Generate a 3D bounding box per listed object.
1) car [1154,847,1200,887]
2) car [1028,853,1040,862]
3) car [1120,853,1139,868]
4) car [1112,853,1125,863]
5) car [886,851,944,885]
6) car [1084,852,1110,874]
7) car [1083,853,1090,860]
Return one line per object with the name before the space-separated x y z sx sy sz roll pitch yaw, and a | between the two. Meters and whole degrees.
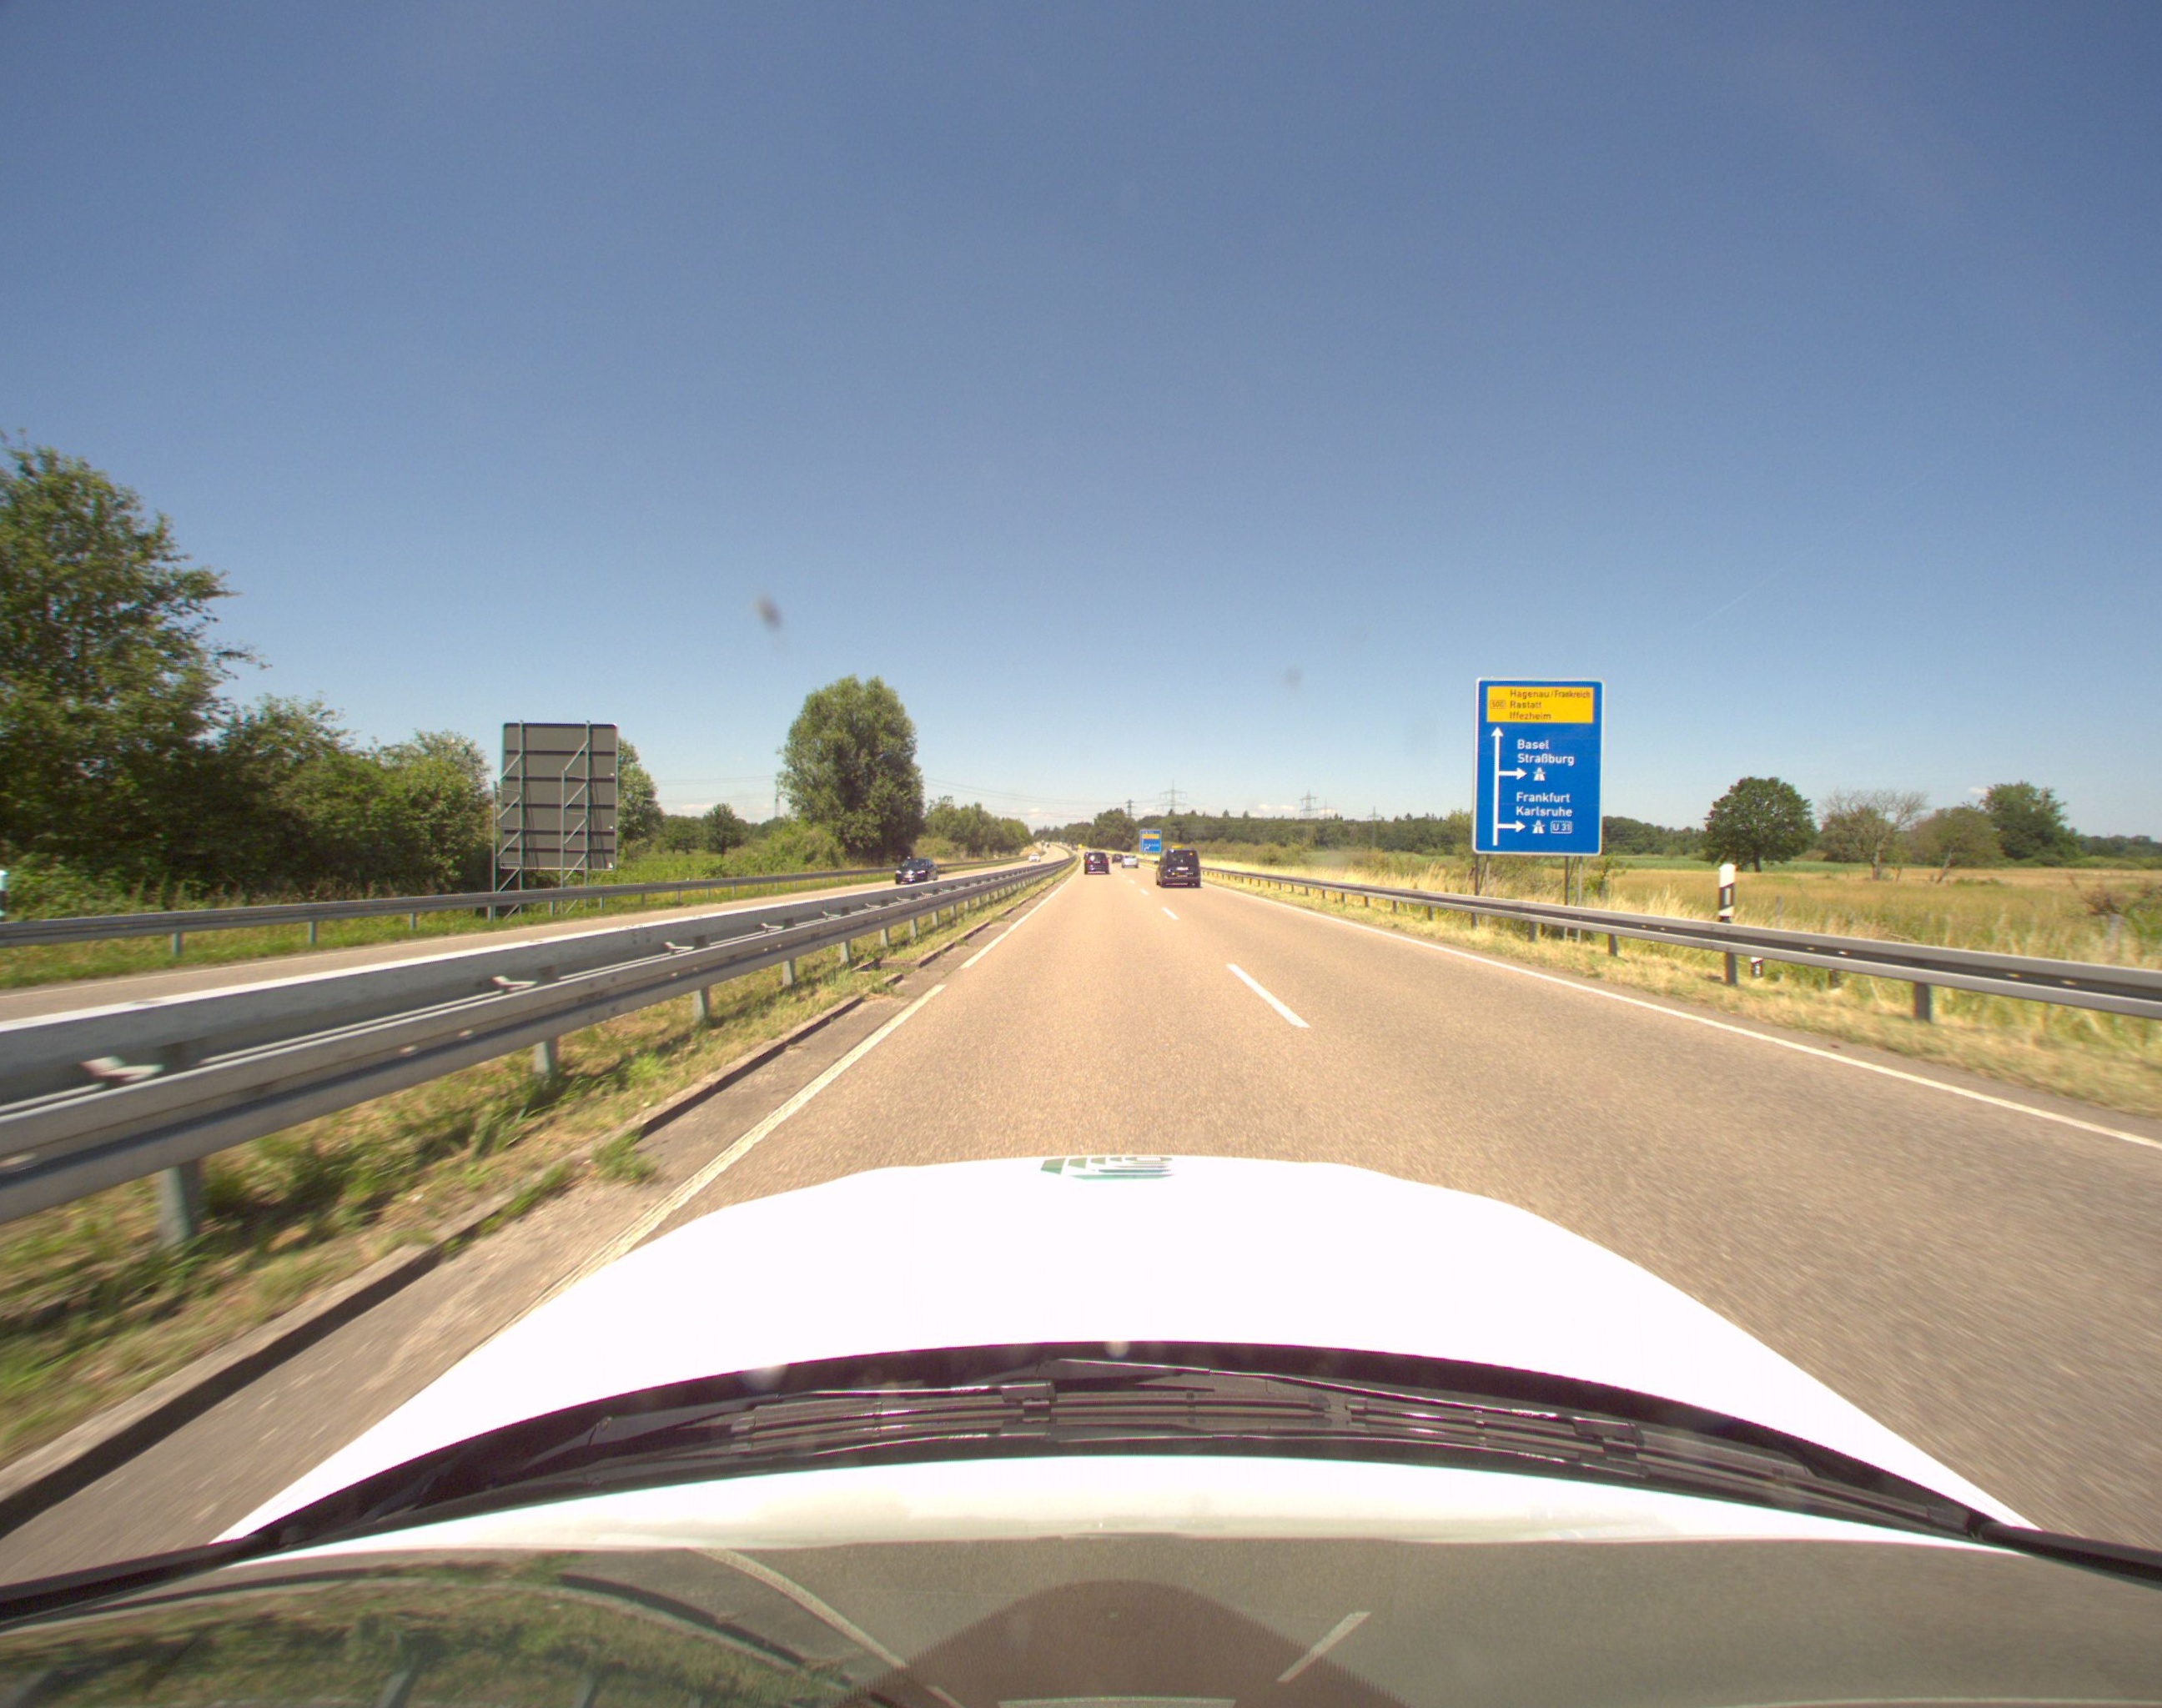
car | 4.555 0.585 39.115 1.774 1.817 4.213 0 0 0
car | -8.051 0.538 140.807 1.821 1.497 4.103 1 0 0
car | 5.206 0.693 87.027 1.773 1.479 4.315 1 0 0
car | 5.552 0.647 121.112 1.813 1.414 4.001 -1 0 1
car | -8.991 0.726 44.588 1.986 1.637 4.875 3 1 2
car | 1.213 0.664 63.535 1.987 1.654 4.000 1 0 0
car | 1.303 0.503 182.267 1.510 1.475 3.066 3 1 0
